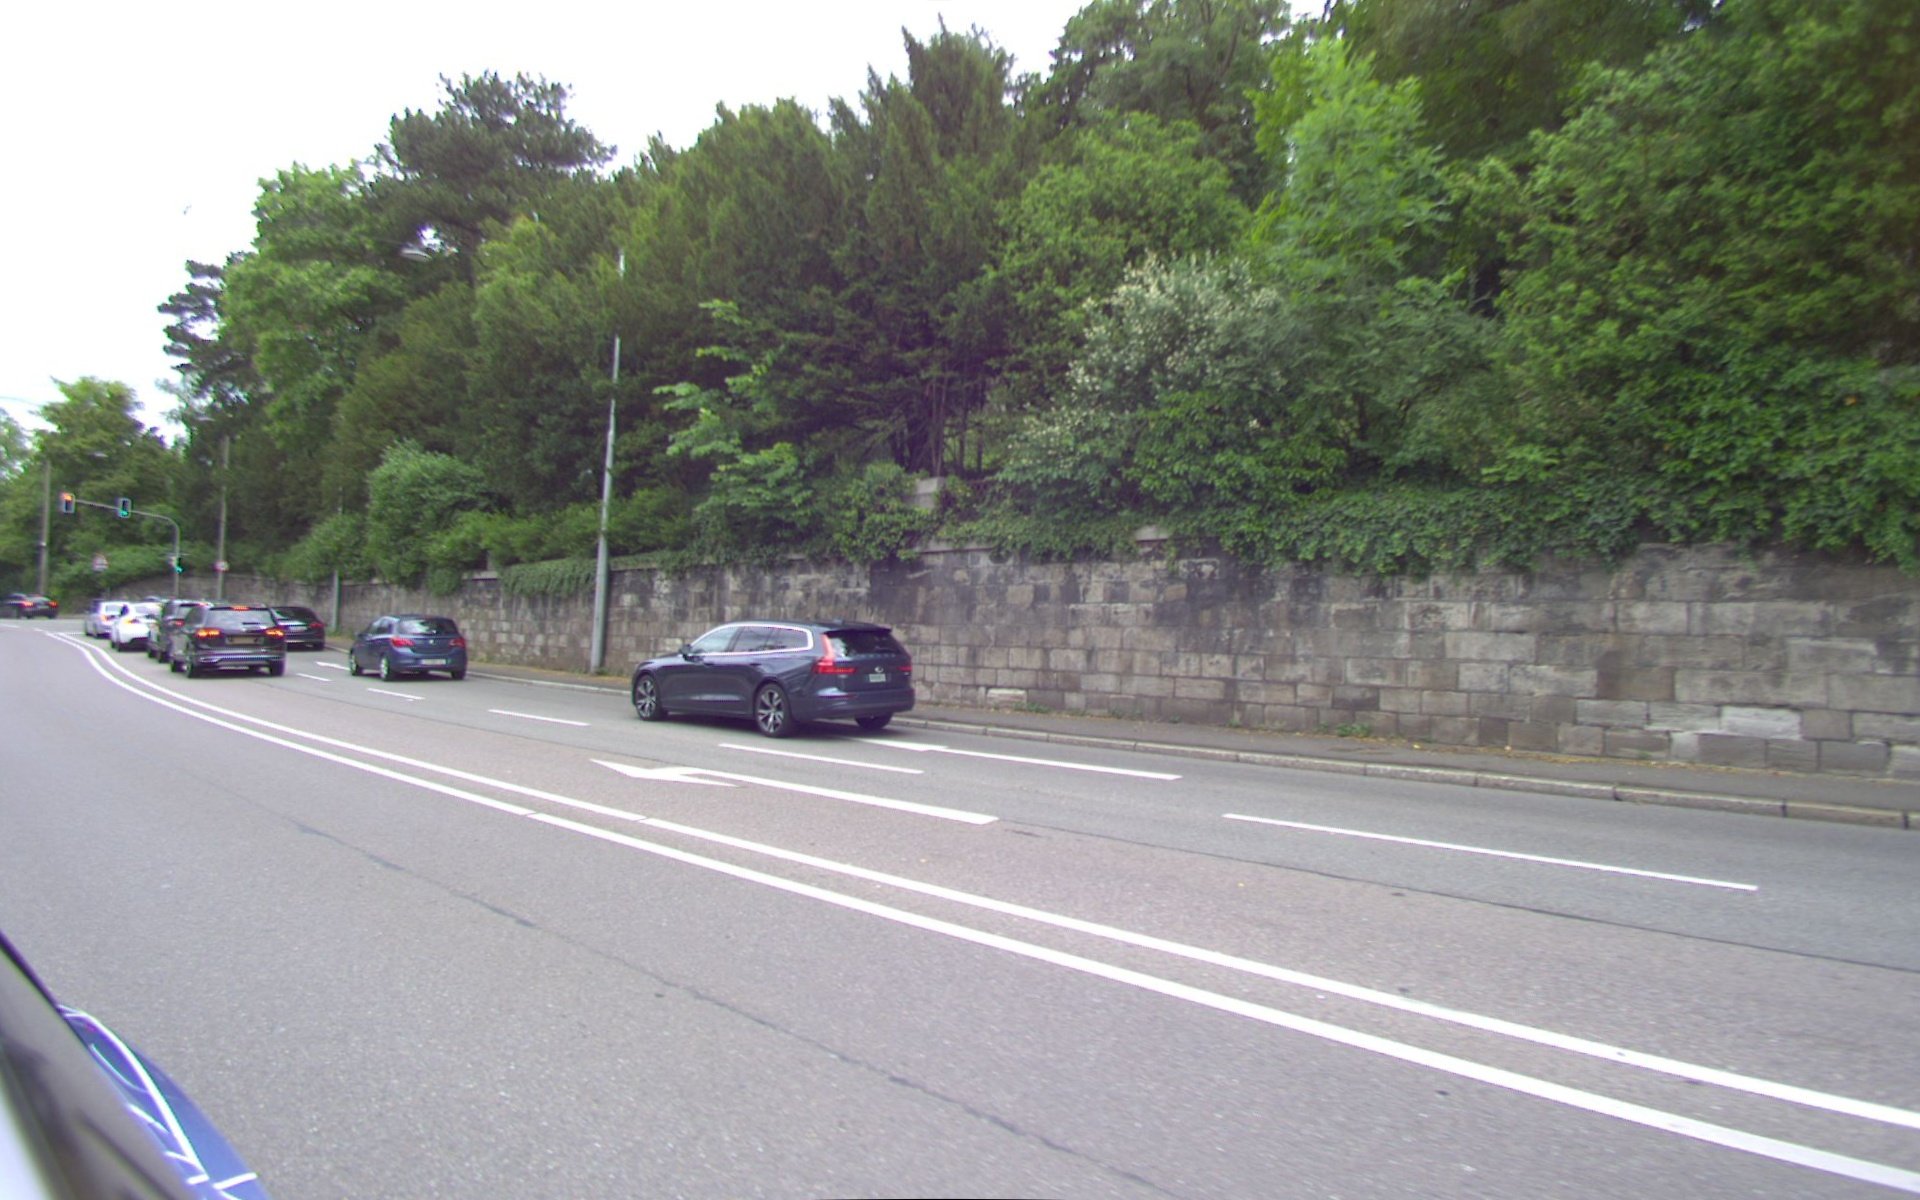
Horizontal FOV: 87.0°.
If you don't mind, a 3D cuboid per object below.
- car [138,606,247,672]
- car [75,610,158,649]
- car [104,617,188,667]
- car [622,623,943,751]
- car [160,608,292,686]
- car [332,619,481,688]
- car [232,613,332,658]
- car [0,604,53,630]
[{"bbox_3d":[-22.332,1.077,29.358,1.937,1.763,4.882,2,-2,-44],"label":"car"},{"bbox_3d":[-35.106,1.203,42.051,4.877,1.481,1.972,0,-2,42],"label":"car"},{"bbox_3d":[-27.803,1.369,34.512,1.816,1.566,4.792,0,-1,-44],"label":"car"},{"bbox_3d":[-2.472,1.026,13.411,4.454,1.420,1.823,-1,-2,42],"label":"car"},{"bbox_3d":[-17.346,1.053,23.827,1.826,1.664,4.627,3,-2,-44],"label":"car"},{"bbox_3d":[-12.839,1.195,23.375,4.000,1.447,1.822,-1,-3,43],"label":"car"},{"bbox_3d":[-23.437,1.187,34.895,1.979,1.420,4.758,2,-2,-45],"label":"car"},{"bbox_3d":[-53.367,0.945,57.166,3.930,1.445,1.625,0,0,21],"label":"car"}]
